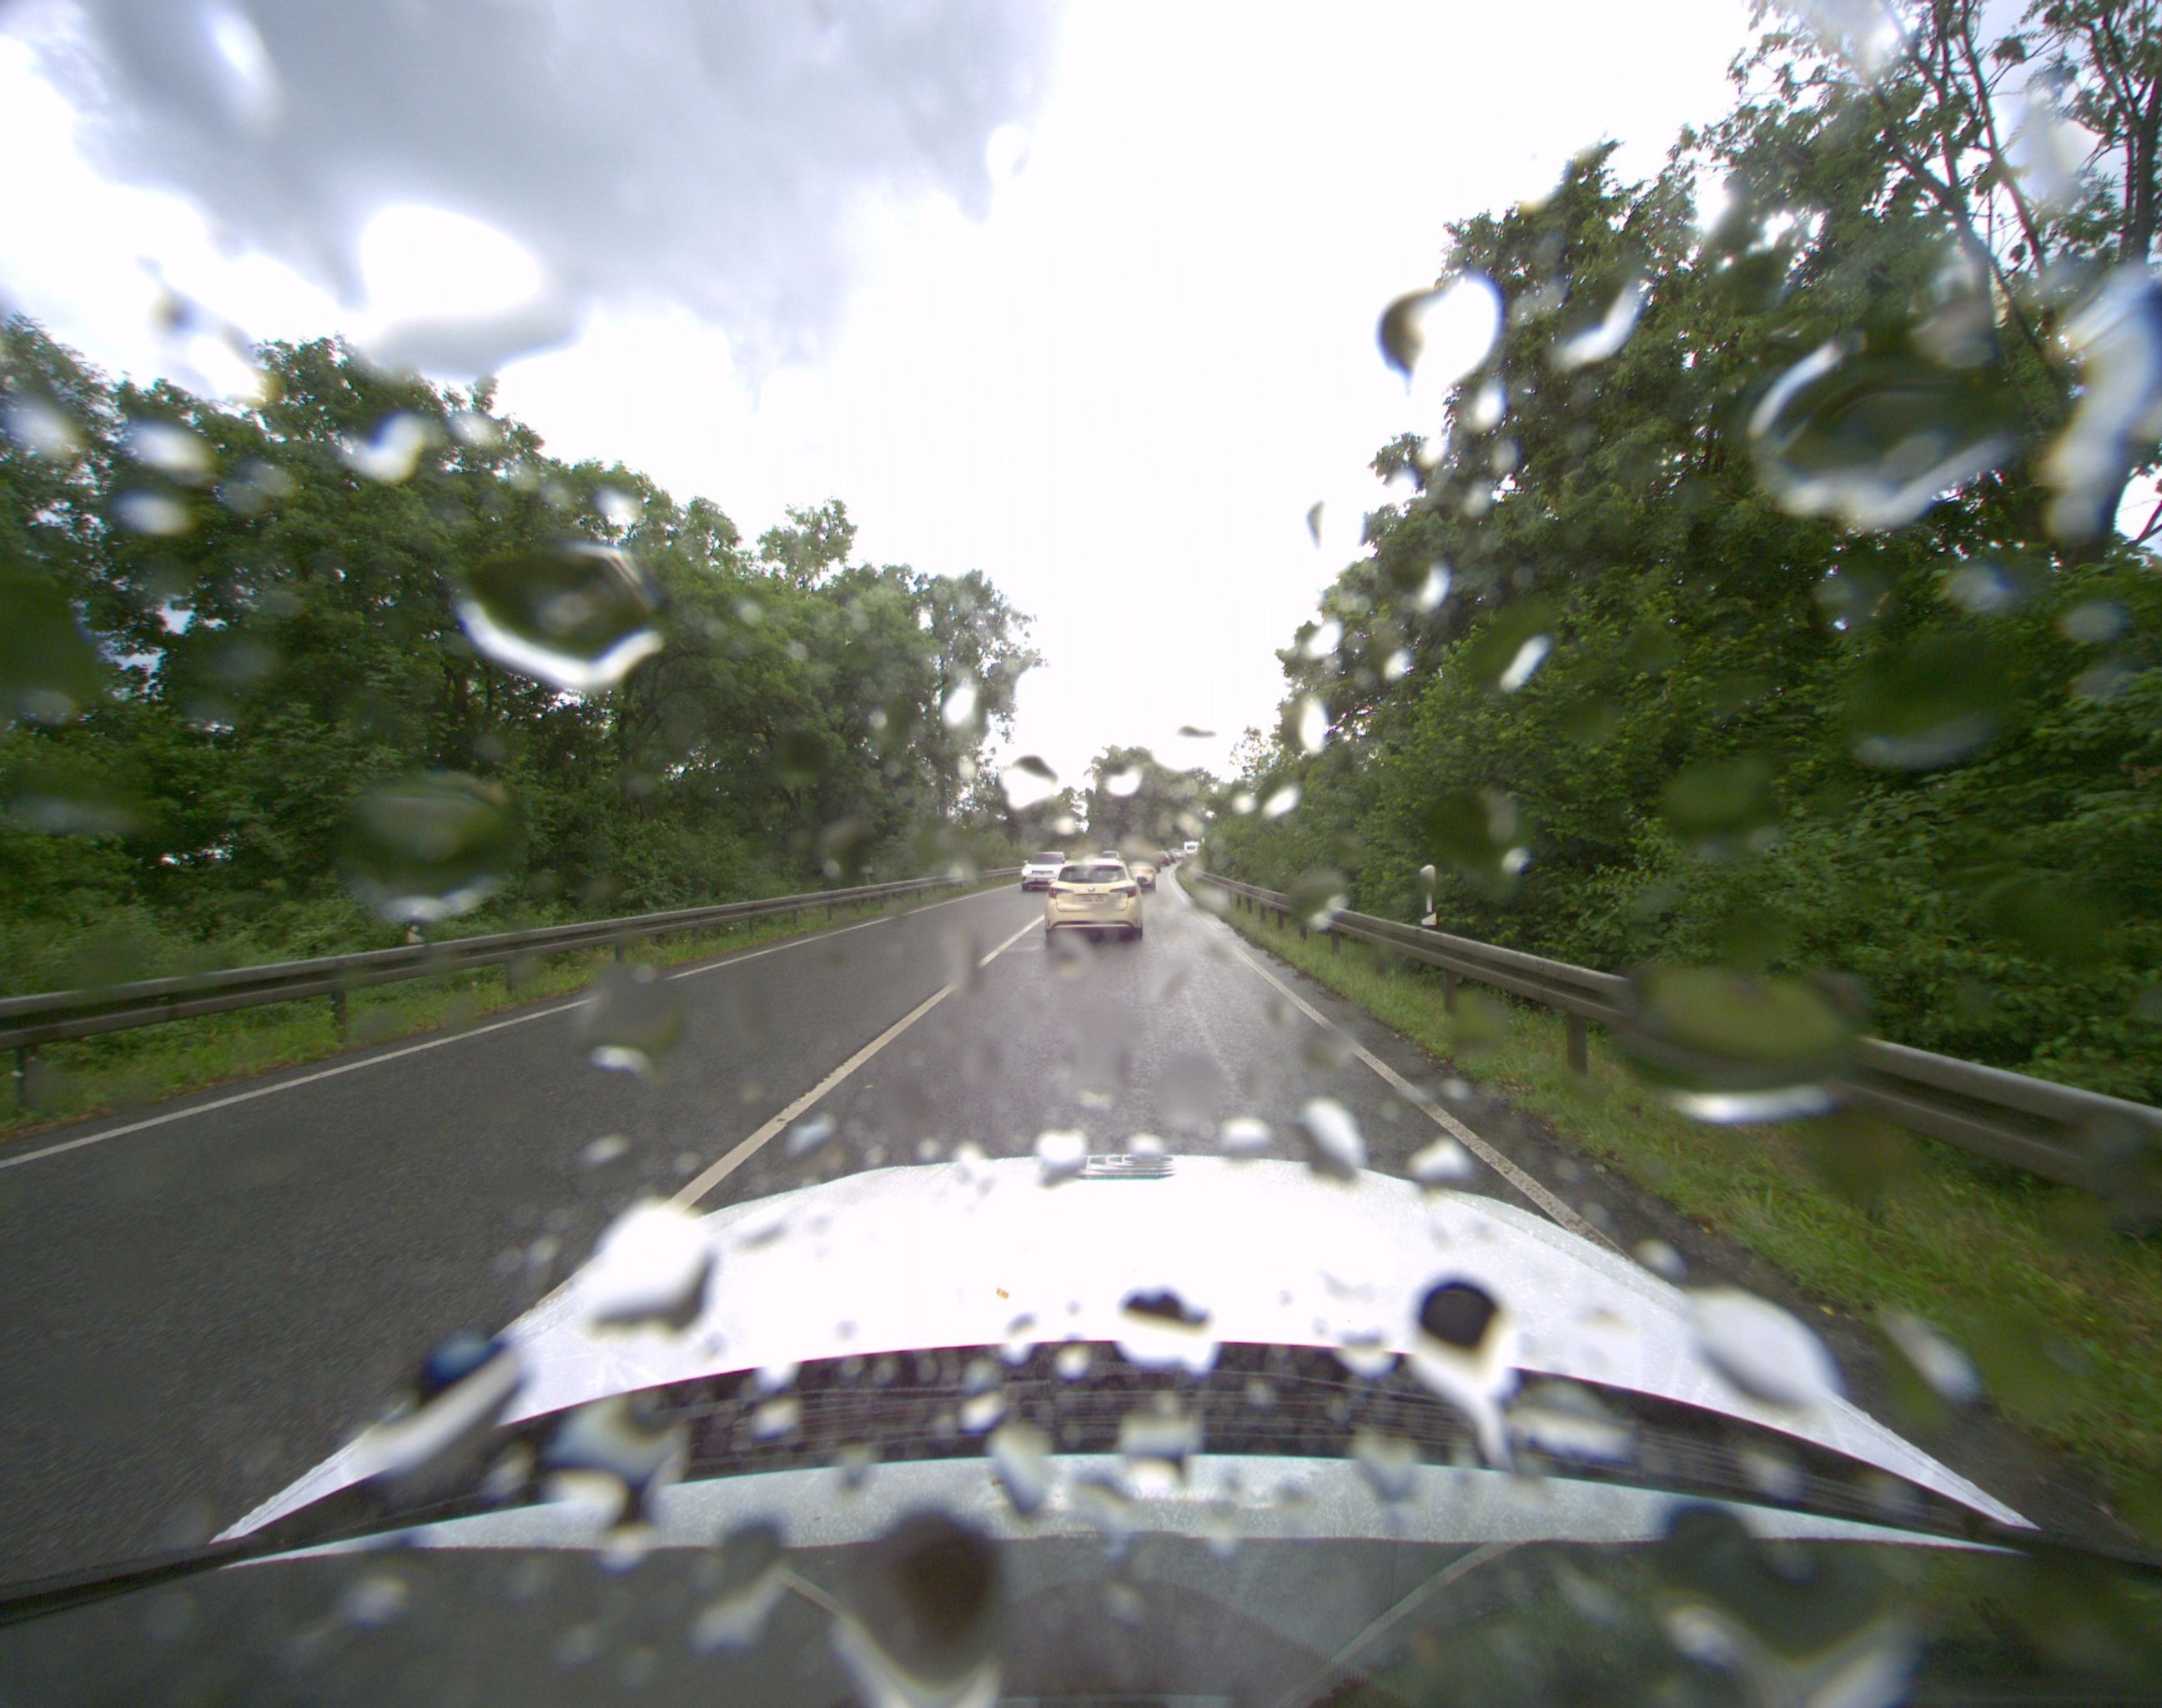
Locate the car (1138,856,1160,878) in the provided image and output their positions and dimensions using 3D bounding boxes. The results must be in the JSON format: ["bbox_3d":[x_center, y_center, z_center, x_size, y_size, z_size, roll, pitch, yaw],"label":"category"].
[{"bbox_3d":[5.211,1.014,62.152,1.604,1.547,3.818,-1,-2,4],"label":"car"}]

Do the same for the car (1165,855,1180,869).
[{"bbox_3d":[10.788,0.901,95.480,1.607,1.613,3.630,-1,-1,8],"label":"car"}]

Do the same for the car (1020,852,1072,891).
[{"bbox_3d":[-1.442,0.701,34.992,1.799,1.532,4.209,-1,0,3],"label":"car"}]

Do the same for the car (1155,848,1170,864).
[{"bbox_3d":[8.146,0.213,81.683,1.159,1.547,2.613,-1,-1,12],"label":"car"}]

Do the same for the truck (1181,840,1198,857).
[{"bbox_3d":[18.823,-0.965,141.052,2.538,2.713,7.544,-1,-1,5],"label":"truck"}]

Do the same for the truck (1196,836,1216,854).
[{"bbox_3d":[26.132,-1.856,170.281,3.082,3.680,7.032,-1,-1,18],"label":"truck"}]

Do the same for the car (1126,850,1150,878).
[{"bbox_3d":[3.279,0.581,46.786,1.295,1.547,3.263,-1,-1,4],"label":"car"}]

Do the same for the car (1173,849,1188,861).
[{"bbox_3d":[14.000,0.180,114.675,1.758,1.547,3.825,-1,-1,11],"label":"car"}]

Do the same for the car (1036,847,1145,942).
[{"bbox_3d":[0.295,0.716,15.857,1.826,1.580,4.160,-1,-1,4],"label":"car"}]

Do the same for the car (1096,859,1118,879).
[{"bbox_3d":[2.270,1.284,70.880,1.684,1.574,4.380,-1,0,5],"label":"car"}]

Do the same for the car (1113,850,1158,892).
[{"bbox_3d":[2.173,0.659,32.346,1.660,1.580,3.897,-1,-1,4],"label":"car"}]
